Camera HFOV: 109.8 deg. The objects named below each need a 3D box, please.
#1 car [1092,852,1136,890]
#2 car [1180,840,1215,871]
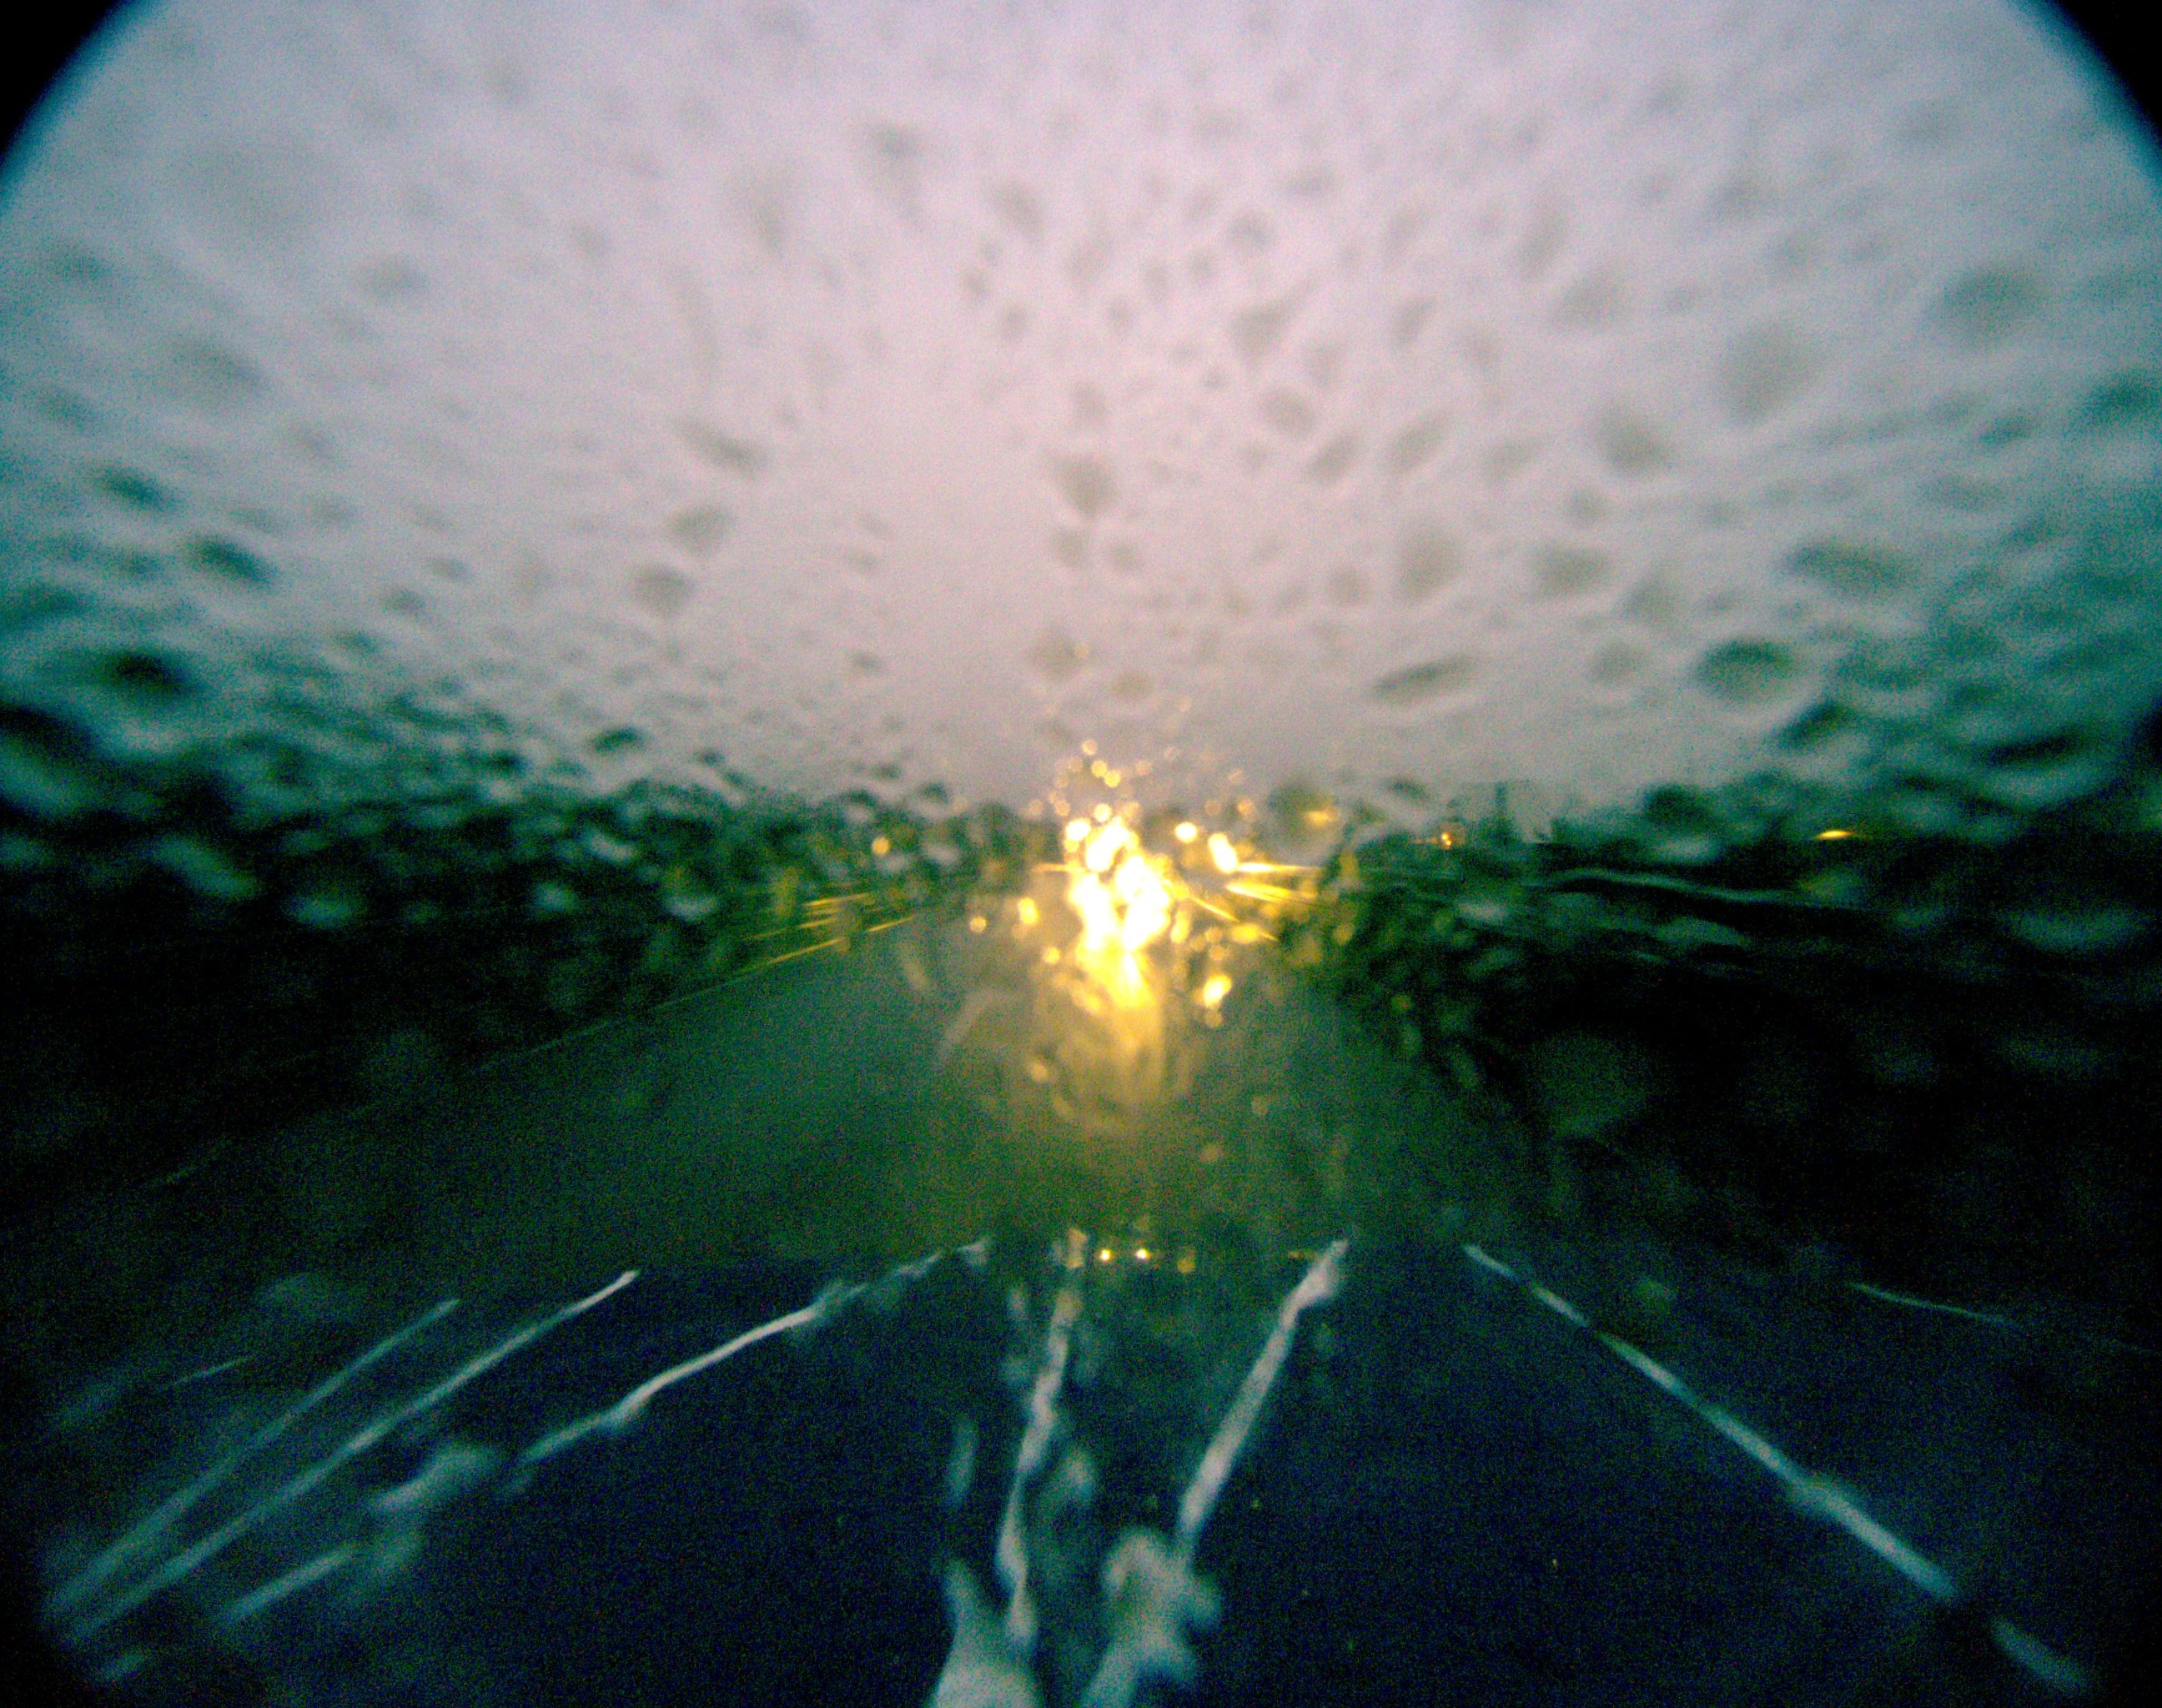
[{"bbox_3d":[1.553,0.732,34.903,1.886,1.514,4.000,-1,1,3],"label":"car"},{"bbox_3d":[9.226,0.069,60.497,2.054,2.250,5.207,-2,1,1],"label":"car"}]
